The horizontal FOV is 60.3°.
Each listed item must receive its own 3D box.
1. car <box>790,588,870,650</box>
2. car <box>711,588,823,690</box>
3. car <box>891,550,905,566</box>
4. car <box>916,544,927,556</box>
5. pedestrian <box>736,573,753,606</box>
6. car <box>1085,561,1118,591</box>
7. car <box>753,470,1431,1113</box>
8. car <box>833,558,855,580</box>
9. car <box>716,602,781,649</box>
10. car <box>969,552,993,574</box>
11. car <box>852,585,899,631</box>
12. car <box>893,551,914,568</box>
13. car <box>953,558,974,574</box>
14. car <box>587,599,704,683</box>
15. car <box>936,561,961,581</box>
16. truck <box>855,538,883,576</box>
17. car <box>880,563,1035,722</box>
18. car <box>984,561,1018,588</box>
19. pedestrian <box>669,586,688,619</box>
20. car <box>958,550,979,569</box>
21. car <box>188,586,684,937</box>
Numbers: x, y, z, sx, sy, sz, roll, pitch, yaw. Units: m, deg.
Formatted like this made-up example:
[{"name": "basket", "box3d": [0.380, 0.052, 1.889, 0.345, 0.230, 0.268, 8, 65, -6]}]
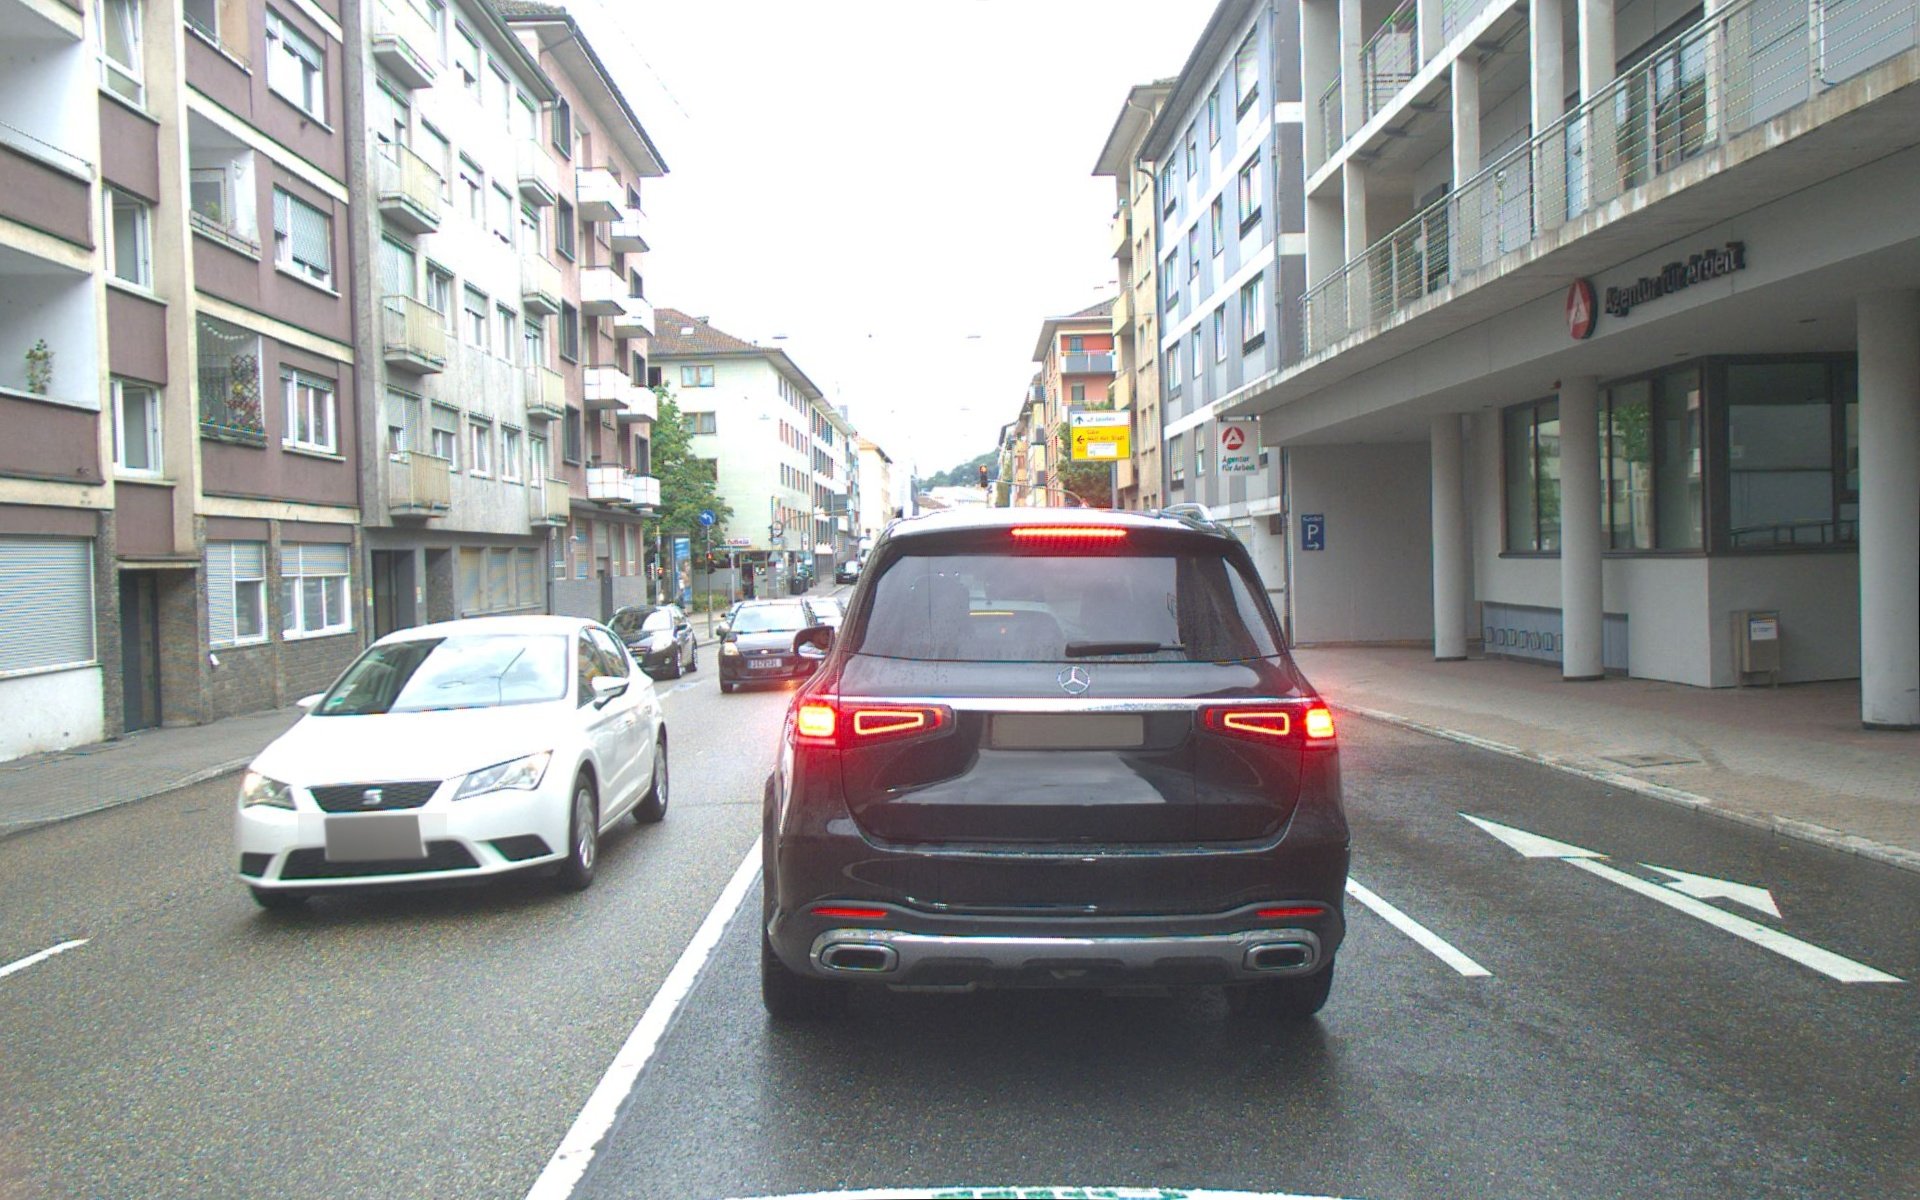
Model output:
[{"name": "car", "box3d": [-3.275, 0.477, 42.437, 1.660, 1.394, 4.217, -4, -1, 0]}, {"name": "car", "box3d": [-3.285, 0.641, 28.833, 1.586, 1.566, 4.215, -3, 0, -3]}, {"name": "car", "box3d": [-7.275, -4.909, 193.575, 1.586, 1.566, 4.215, -3, 0, -3]}, {"name": "car", "box3d": [-5.818, -7.540, 250.175, 1.586, 1.566, 4.215, -3, 0, -3]}, {"name": "pedestrian", "box3d": [-13.261, -0.647, 101.748, 0.904, 1.935, 0.706, -2, 0, -3]}, {"name": "car", "box3d": [8.098, -1.351, 94.724, 1.636, 1.616, 3.331, -2, 1, 1]}, {"name": "car", "box3d": [0.357, 0.568, 6.989, 1.944, 1.836, 4.389, 1, 0, -1]}, {"name": "car", "box3d": [-9.205, -2.454, 131.460, 1.586, 1.566, 4.215, -3, 0, -3]}, {"name": "car", "box3d": [-7.027, 0.824, 55.265, 1.661, 1.394, 4.364, -4, 0, -2]}, {"name": "car", "box3d": [1.674, -2.939, 133.383, 1.586, 1.566, 4.215, -3, 0, -3]}, {"name": "car", "box3d": [-3.257, 0.329, 64.060, 1.661, 1.608, 4.216, -4, -1, -2]}, {"name": "car", "box3d": [-5.239, -3.756, 153.827, 1.848, 1.286, 4.215, -3, 0, -3]}, {"name": "car", "box3d": [0.382, -3.406, 167.777, 1.848, 1.396, 4.215, -3, 0, -3]}, {"name": "car", "box3d": [-6.468, 0.795, 34.466, 1.689, 1.498, 4.372, -4, 1, -2]}, {"name": "car", "box3d": [-0.957, -2.355, 133.559, 1.953, 1.514, 3.999, -2, 0, -1]}, {"name": "truck", "box3d": [-8.594, -4.020, 156.912, 2.430, 3.099, 9.914, -3, 0, -3]}, {"name": "car", "box3d": [-0.129, 0.492, 20.797, 1.716, 1.762, 4.215, -1, 0, -3]}, {"name": "car", "box3d": [2.414, -1.475, 97.916, 1.586, 1.411, 4.215, -3, 0, -3]}, {"name": "pedestrian", "box3d": [-15.400, 0.137, 90.469, 0.633, 1.795, 0.760, -2, 0, -45]}, {"name": "car", "box3d": [0.798, -3.705, 151.757, 1.586, 1.566, 4.215, -3, 0, -3]}, {"name": "car", "box3d": [-2.830, 0.776, 9.903, 1.709, 1.566, 4.051, -3, 0, -2]}]
